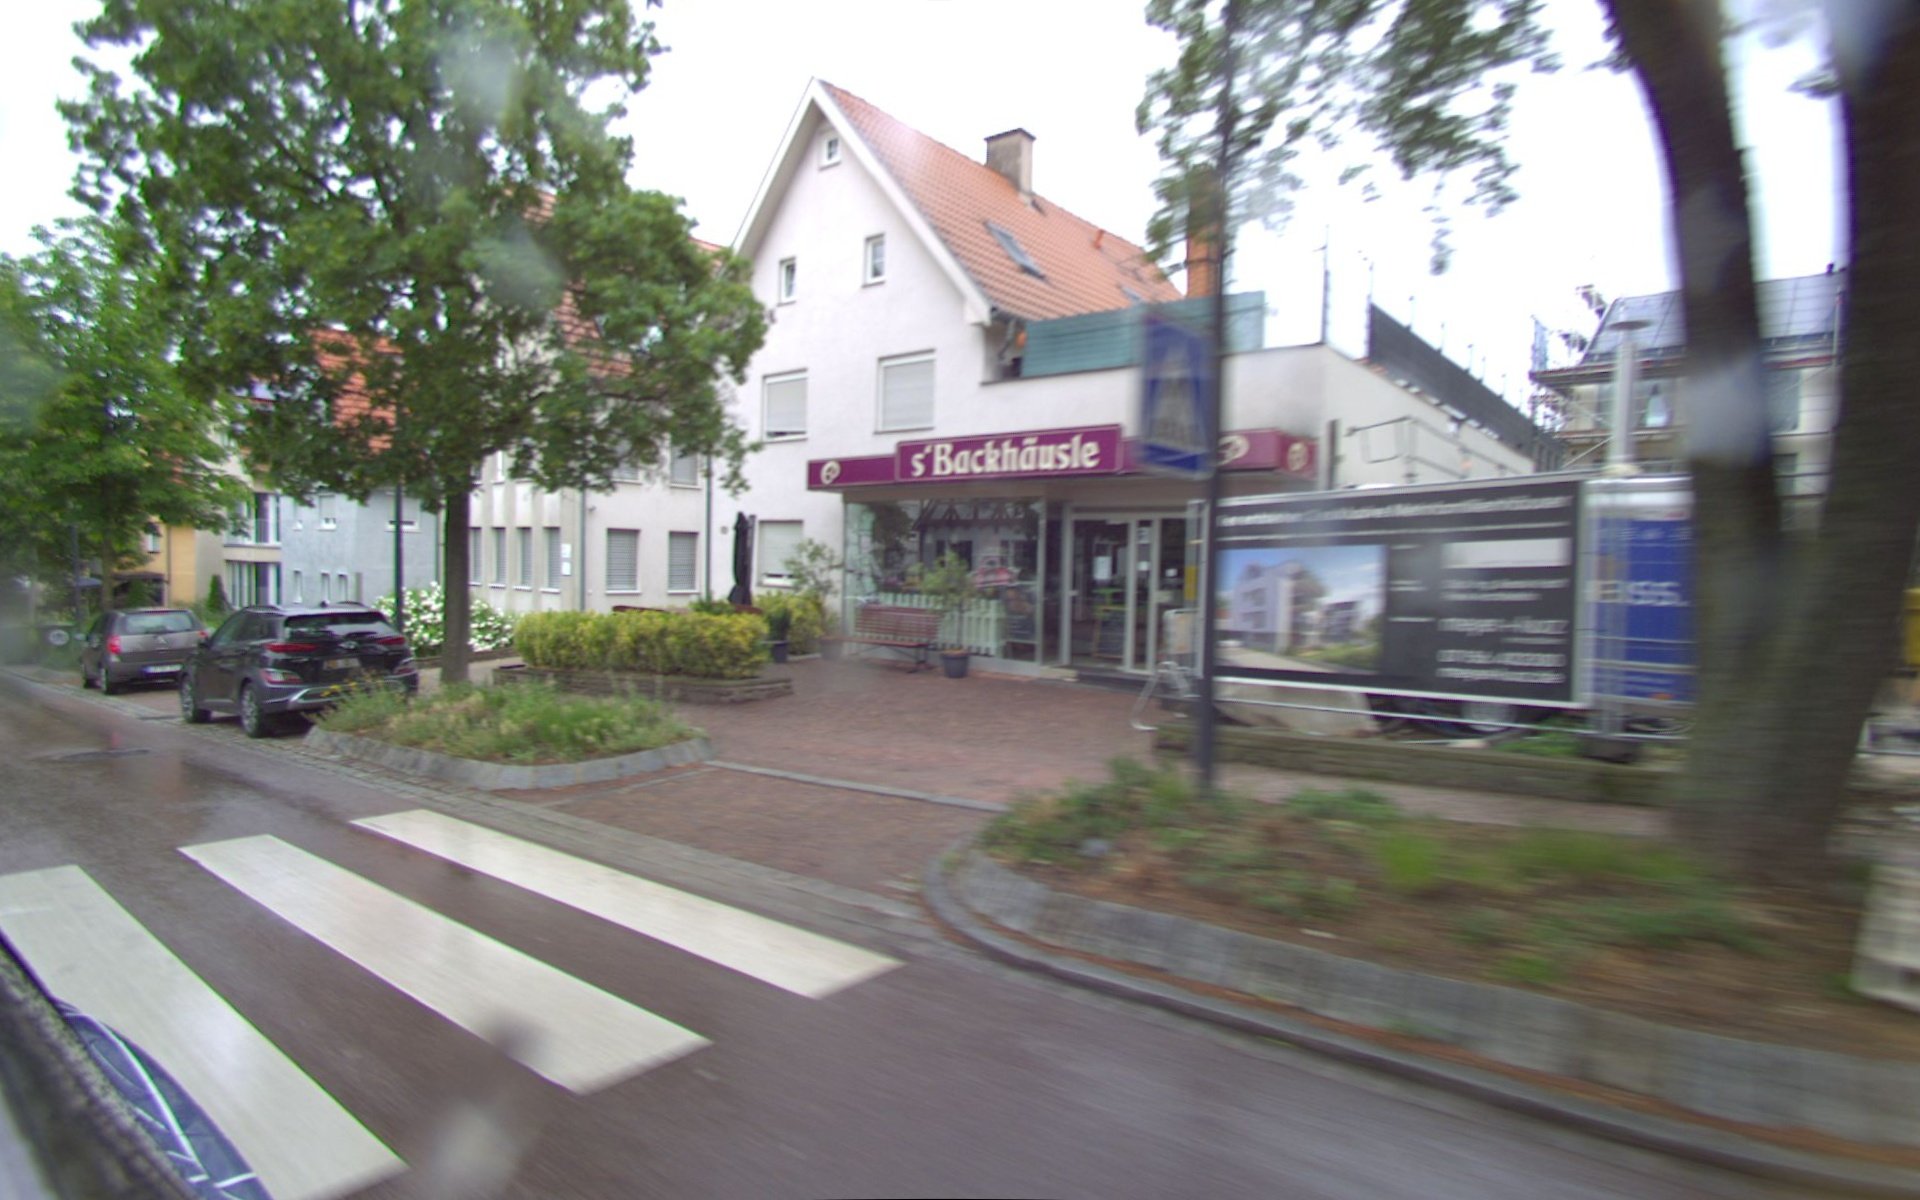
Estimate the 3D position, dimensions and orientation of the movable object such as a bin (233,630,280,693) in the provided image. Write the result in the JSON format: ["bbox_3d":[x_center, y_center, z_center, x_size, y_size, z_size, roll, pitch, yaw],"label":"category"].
[{"bbox_3d":[-12.807,1.113,18.428,0.595,1.107,0.547,-2,-1,40],"label":"movable object such as a bin"}]

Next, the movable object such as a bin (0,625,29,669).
[{"bbox_3d":[-24.935,1.224,26.599,0.536,1.119,0.636,-1,-1,42],"label":"movable object such as a bin"}]

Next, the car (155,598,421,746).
[{"bbox_3d":[-8.808,0.823,13.148,3.996,1.565,1.754,-1,2,40],"label":"car"}]

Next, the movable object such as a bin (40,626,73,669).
[{"bbox_3d":[-23.905,1.247,26.771,0.564,1.119,0.604,-1,-1,42],"label":"movable object such as a bin"}]

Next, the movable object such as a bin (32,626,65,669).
[{"bbox_3d":[-24.419,1.273,27.113,0.564,1.119,0.604,-1,-1,42],"label":"movable object such as a bin"}]

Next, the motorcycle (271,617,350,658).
[{"bbox_3d":[-20.425,1.168,31.854,0.817,1.170,1.962,0,1,41],"label":"motorcycle"}]

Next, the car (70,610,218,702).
[{"bbox_3d":[-15.767,1.000,19.498,3.865,1.544,1.629,-1,1,42],"label":"car"}]
